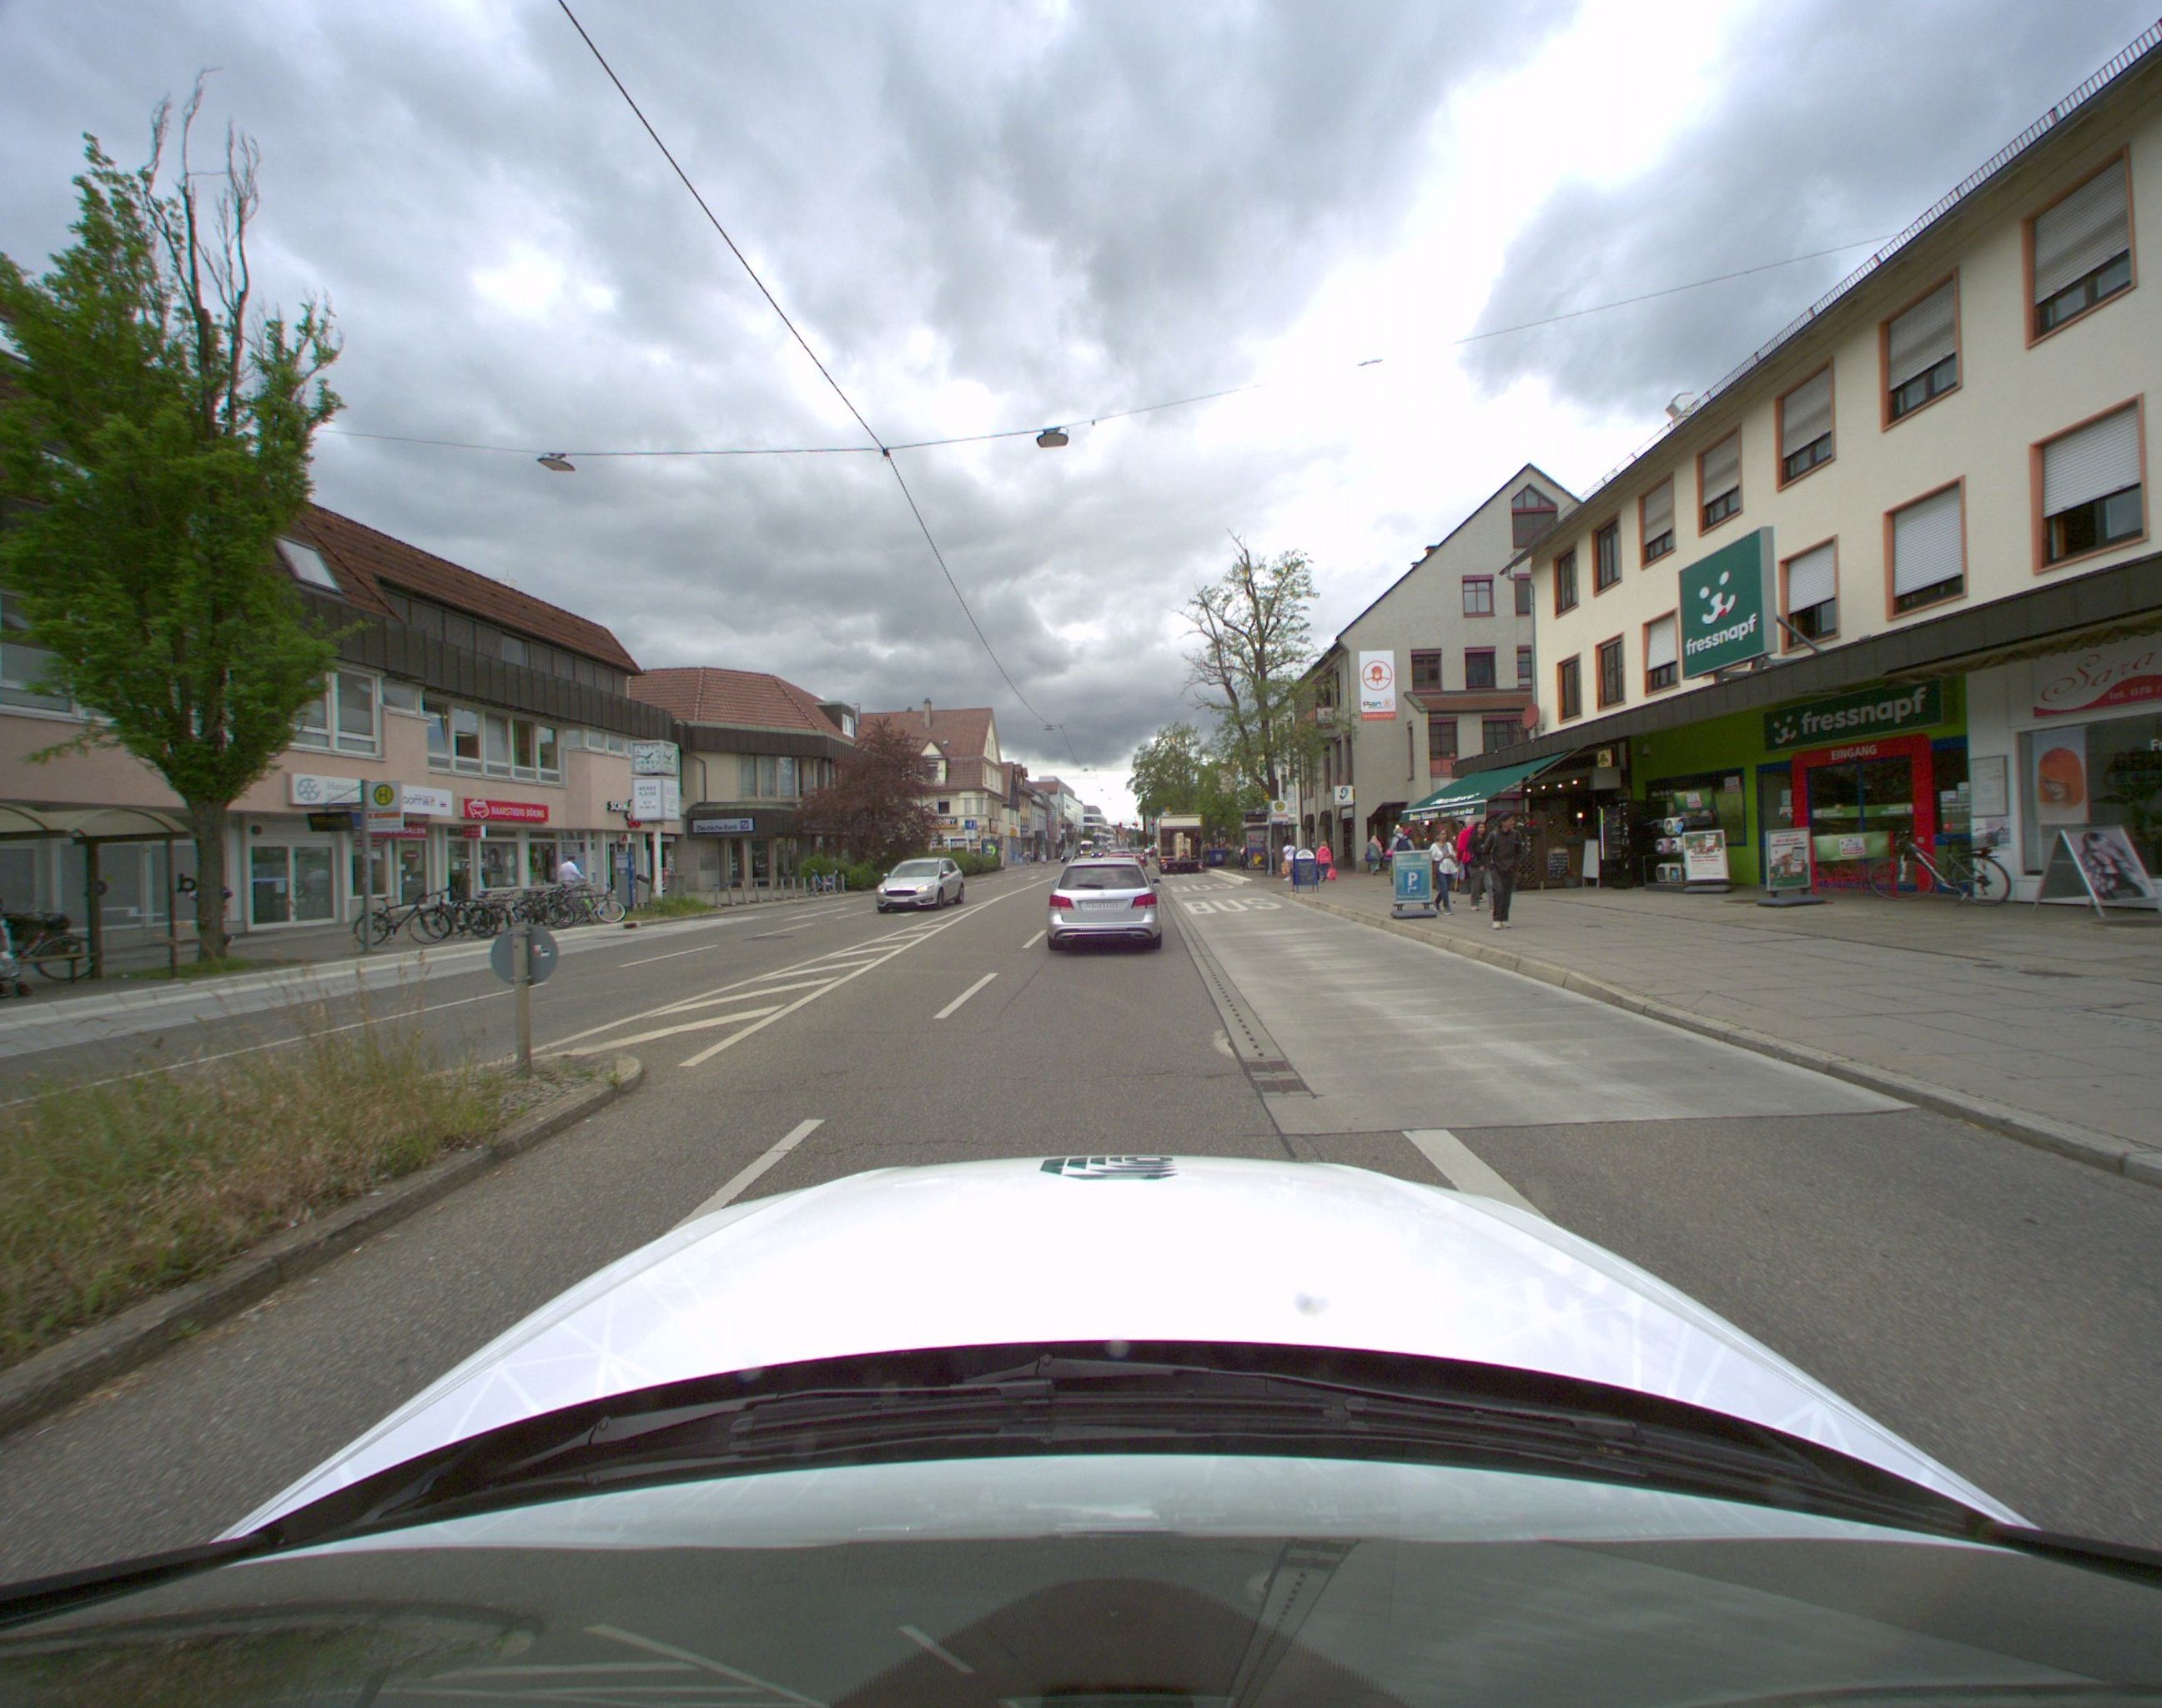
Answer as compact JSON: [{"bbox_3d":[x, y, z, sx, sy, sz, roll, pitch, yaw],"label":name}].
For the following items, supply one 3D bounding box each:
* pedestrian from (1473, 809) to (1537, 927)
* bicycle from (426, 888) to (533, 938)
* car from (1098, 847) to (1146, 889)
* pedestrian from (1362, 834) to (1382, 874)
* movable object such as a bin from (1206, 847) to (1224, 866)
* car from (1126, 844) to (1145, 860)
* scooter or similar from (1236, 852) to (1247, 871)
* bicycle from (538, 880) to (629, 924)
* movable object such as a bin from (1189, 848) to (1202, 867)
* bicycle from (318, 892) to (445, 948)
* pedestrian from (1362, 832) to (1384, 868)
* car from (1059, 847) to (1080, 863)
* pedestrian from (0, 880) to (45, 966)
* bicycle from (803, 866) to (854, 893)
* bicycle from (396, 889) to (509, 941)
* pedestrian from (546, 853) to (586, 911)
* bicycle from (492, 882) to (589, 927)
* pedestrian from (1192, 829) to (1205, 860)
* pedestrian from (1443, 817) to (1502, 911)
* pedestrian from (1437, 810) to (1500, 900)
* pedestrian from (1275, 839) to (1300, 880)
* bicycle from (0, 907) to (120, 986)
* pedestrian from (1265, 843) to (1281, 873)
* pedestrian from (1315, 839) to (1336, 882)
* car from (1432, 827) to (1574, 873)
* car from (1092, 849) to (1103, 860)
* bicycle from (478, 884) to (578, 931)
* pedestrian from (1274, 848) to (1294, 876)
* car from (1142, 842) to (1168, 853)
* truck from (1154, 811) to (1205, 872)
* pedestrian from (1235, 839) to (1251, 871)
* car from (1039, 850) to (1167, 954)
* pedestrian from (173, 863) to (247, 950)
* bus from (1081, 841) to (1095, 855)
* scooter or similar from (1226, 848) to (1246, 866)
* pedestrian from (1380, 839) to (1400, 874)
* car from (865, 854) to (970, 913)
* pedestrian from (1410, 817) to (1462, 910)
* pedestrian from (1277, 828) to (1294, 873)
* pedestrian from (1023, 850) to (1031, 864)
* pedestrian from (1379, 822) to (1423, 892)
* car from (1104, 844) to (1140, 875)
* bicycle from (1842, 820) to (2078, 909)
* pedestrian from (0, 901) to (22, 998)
[{"bbox_3d":[6.265,0.198,12.060,0.609,1.678,0.616,-2,0,6],"label":"pedestrian"},{"bbox_3d":[-14.507,1.415,19.678,2.015,1.090,0.648,-1,0,-6],"label":"bicycle"},{"bbox_3d":[1.697,0.568,32.407,1.746,1.521,4.005,-2,-2,5],"label":"car"},{"bbox_3d":[12.025,0.009,33.647,0.583,1.634,0.616,-1,0,5],"label":"pedestrian"},{"bbox_3d":[9.758,0.185,59.311,1.138,1.339,1.378,-2,0,6],"label":"movable object such as a bin"},{"bbox_3d":[5.945,-0.197,88.731,1.984,1.684,4.005,-2,0,4],"label":"car"},{"bbox_3d":[8.182,0.388,41.410,0.387,0.959,0.351,-2,0,-37],"label":"scooter or similar"},{"bbox_3d":[-13.670,1.320,22.430,2.015,1.090,0.648,-2,0,-6],"label":"bicycle"},{"bbox_3d":[8.361,0.242,59.604,0.877,1.339,1.087,-2,0,6],"label":"movable object such as a bin"},{"bbox_3d":[-15.195,1.412,17.729,2.018,1.090,0.647,-1,0,-11],"label":"bicycle"},{"bbox_3d":[13.446,-0.182,37.507,0.724,1.634,0.614,-2,0,-5],"label":"pedestrian"},{"bbox_3d":[-1.420,0.105,104.026,2.059,1.738,4.700,-4,0,5],"label":"car"},{"bbox_3d":[-20.000,1.273,15.121,0.709,1.547,0.588,-1,1,3],"label":"pedestrian"},{"bbox_3d":[-11.068,1.109,35.782,2.015,1.090,0.648,-2,0,-6],"label":"bicycle"},{"bbox_3d":[-14.340,1.384,18.611,2.012,1.090,0.649,-2,0,-1],"label":"bicycle"},{"bbox_3d":[-16.057,0.855,25.421,0.723,1.764,0.756,1,1,1],"label":"pedestrian"},{"bbox_3d":[-14.288,1.326,21.573,2.015,1.090,0.648,-2,0,-6],"label":"bicycle"},{"bbox_3d":[6.866,-0.557,47.533,0.611,1.780,0.588,-2,-1,0],"label":"pedestrian"},{"bbox_3d":[7.118,0.176,14.830,0.716,1.634,0.615,-3,-1,1],"label":"pedestrian"},{"bbox_3d":[7.917,0.031,16.679,0.793,1.742,0.781,-4,-1,-2],"label":"pedestrian"},{"bbox_3d":[8.429,0.201,33.279,0.614,1.634,0.789,-2,1,-18],"label":"pedestrian"},{"bbox_3d":[-16.478,1.445,12.747,0.531,1.090,1.932,-1,0,2],"label":"bicycle"},{"bbox_3d":[9.238,0.172,39.140,0.608,1.401,0.590,-4,-1,17],"label":"pedestrian"},{"bbox_3d":[9.045,0.218,30.128,0.666,1.567,0.494,0,2,24],"label":"pedestrian"},{"bbox_3d":[16.353,-0.152,31.767,4.579,1.619,1.884,-1,0,7],"label":"car"},{"bbox_3d":[2.484,0.098,121.240,1.564,1.540,2.962,0,0,2],"label":"car"},{"bbox_3d":[-14.155,1.358,20.869,2.015,1.090,0.648,-2,0,-6],"label":"bicycle"},{"bbox_3d":[8.865,0.344,35.596,0.710,1.166,0.587,-1,1,-3],"label":"pedestrian"},{"bbox_3d":[15.573,-1.402,171.563,5.125,1.960,1.961,-3,0,-11],"label":"car"},{"bbox_3d":[6.281,-0.806,53.213,2.677,3.561,9.777,-2,0,4],"label":"truck"},{"bbox_3d":[8.313,0.033,41.796,0.536,1.634,0.584,1,1,-21],"label":"pedestrian"},{"bbox_3d":[0.403,0.708,14.071,1.867,1.506,4.002,-1,0,2],"label":"car"},{"bbox_3d":[-18.301,1.078,17.131,0.723,1.764,0.756,1,1,1],"label":"pedestrian"},{"bbox_3d":[1.740,-1.497,194.818,2.762,3.165,5.940,-2,0,4],"label":"bus"},{"bbox_3d":[10.668,0.230,56.064,1.174,1.196,0.459,-2,0,-6],"label":"scooter or similar"},{"bbox_3d":[12.523,0.093,33.017,0.583,1.375,0.616,-1,0,6],"label":"pedestrian"},{"bbox_3d":[-4.690,0.797,24.071,1.866,1.506,4.348,-3,0,4],"label":"car"},{"bbox_3d":[6.456,0.174,14.829,0.610,1.634,0.615,-3,-1,1],"label":"pedestrian"},{"bbox_3d":[9.587,-0.157,38.205,0.608,2.047,0.590,-4,-1,17],"label":"pedestrian"},{"bbox_3d":[-6.030,0.323,90.387,0.814,1.634,0.980,0,0,-2],"label":"pedestrian"},{"bbox_3d":[8.286,0.092,21.110,0.680,1.742,0.781,-4,-1,-2],"label":"pedestrian"},{"bbox_3d":[2.462,0.297,48.165,1.984,1.684,4.005,-2,0,4],"label":"car"},{"bbox_3d":[11.919,0.119,11.206,0.738,1.062,2.352,-3,0,2],"label":"bicycle"},{"bbox_3d":[-15.741,1.377,11.532,0.708,1.364,0.589,-1,1,5],"label":"pedestrian"}]
